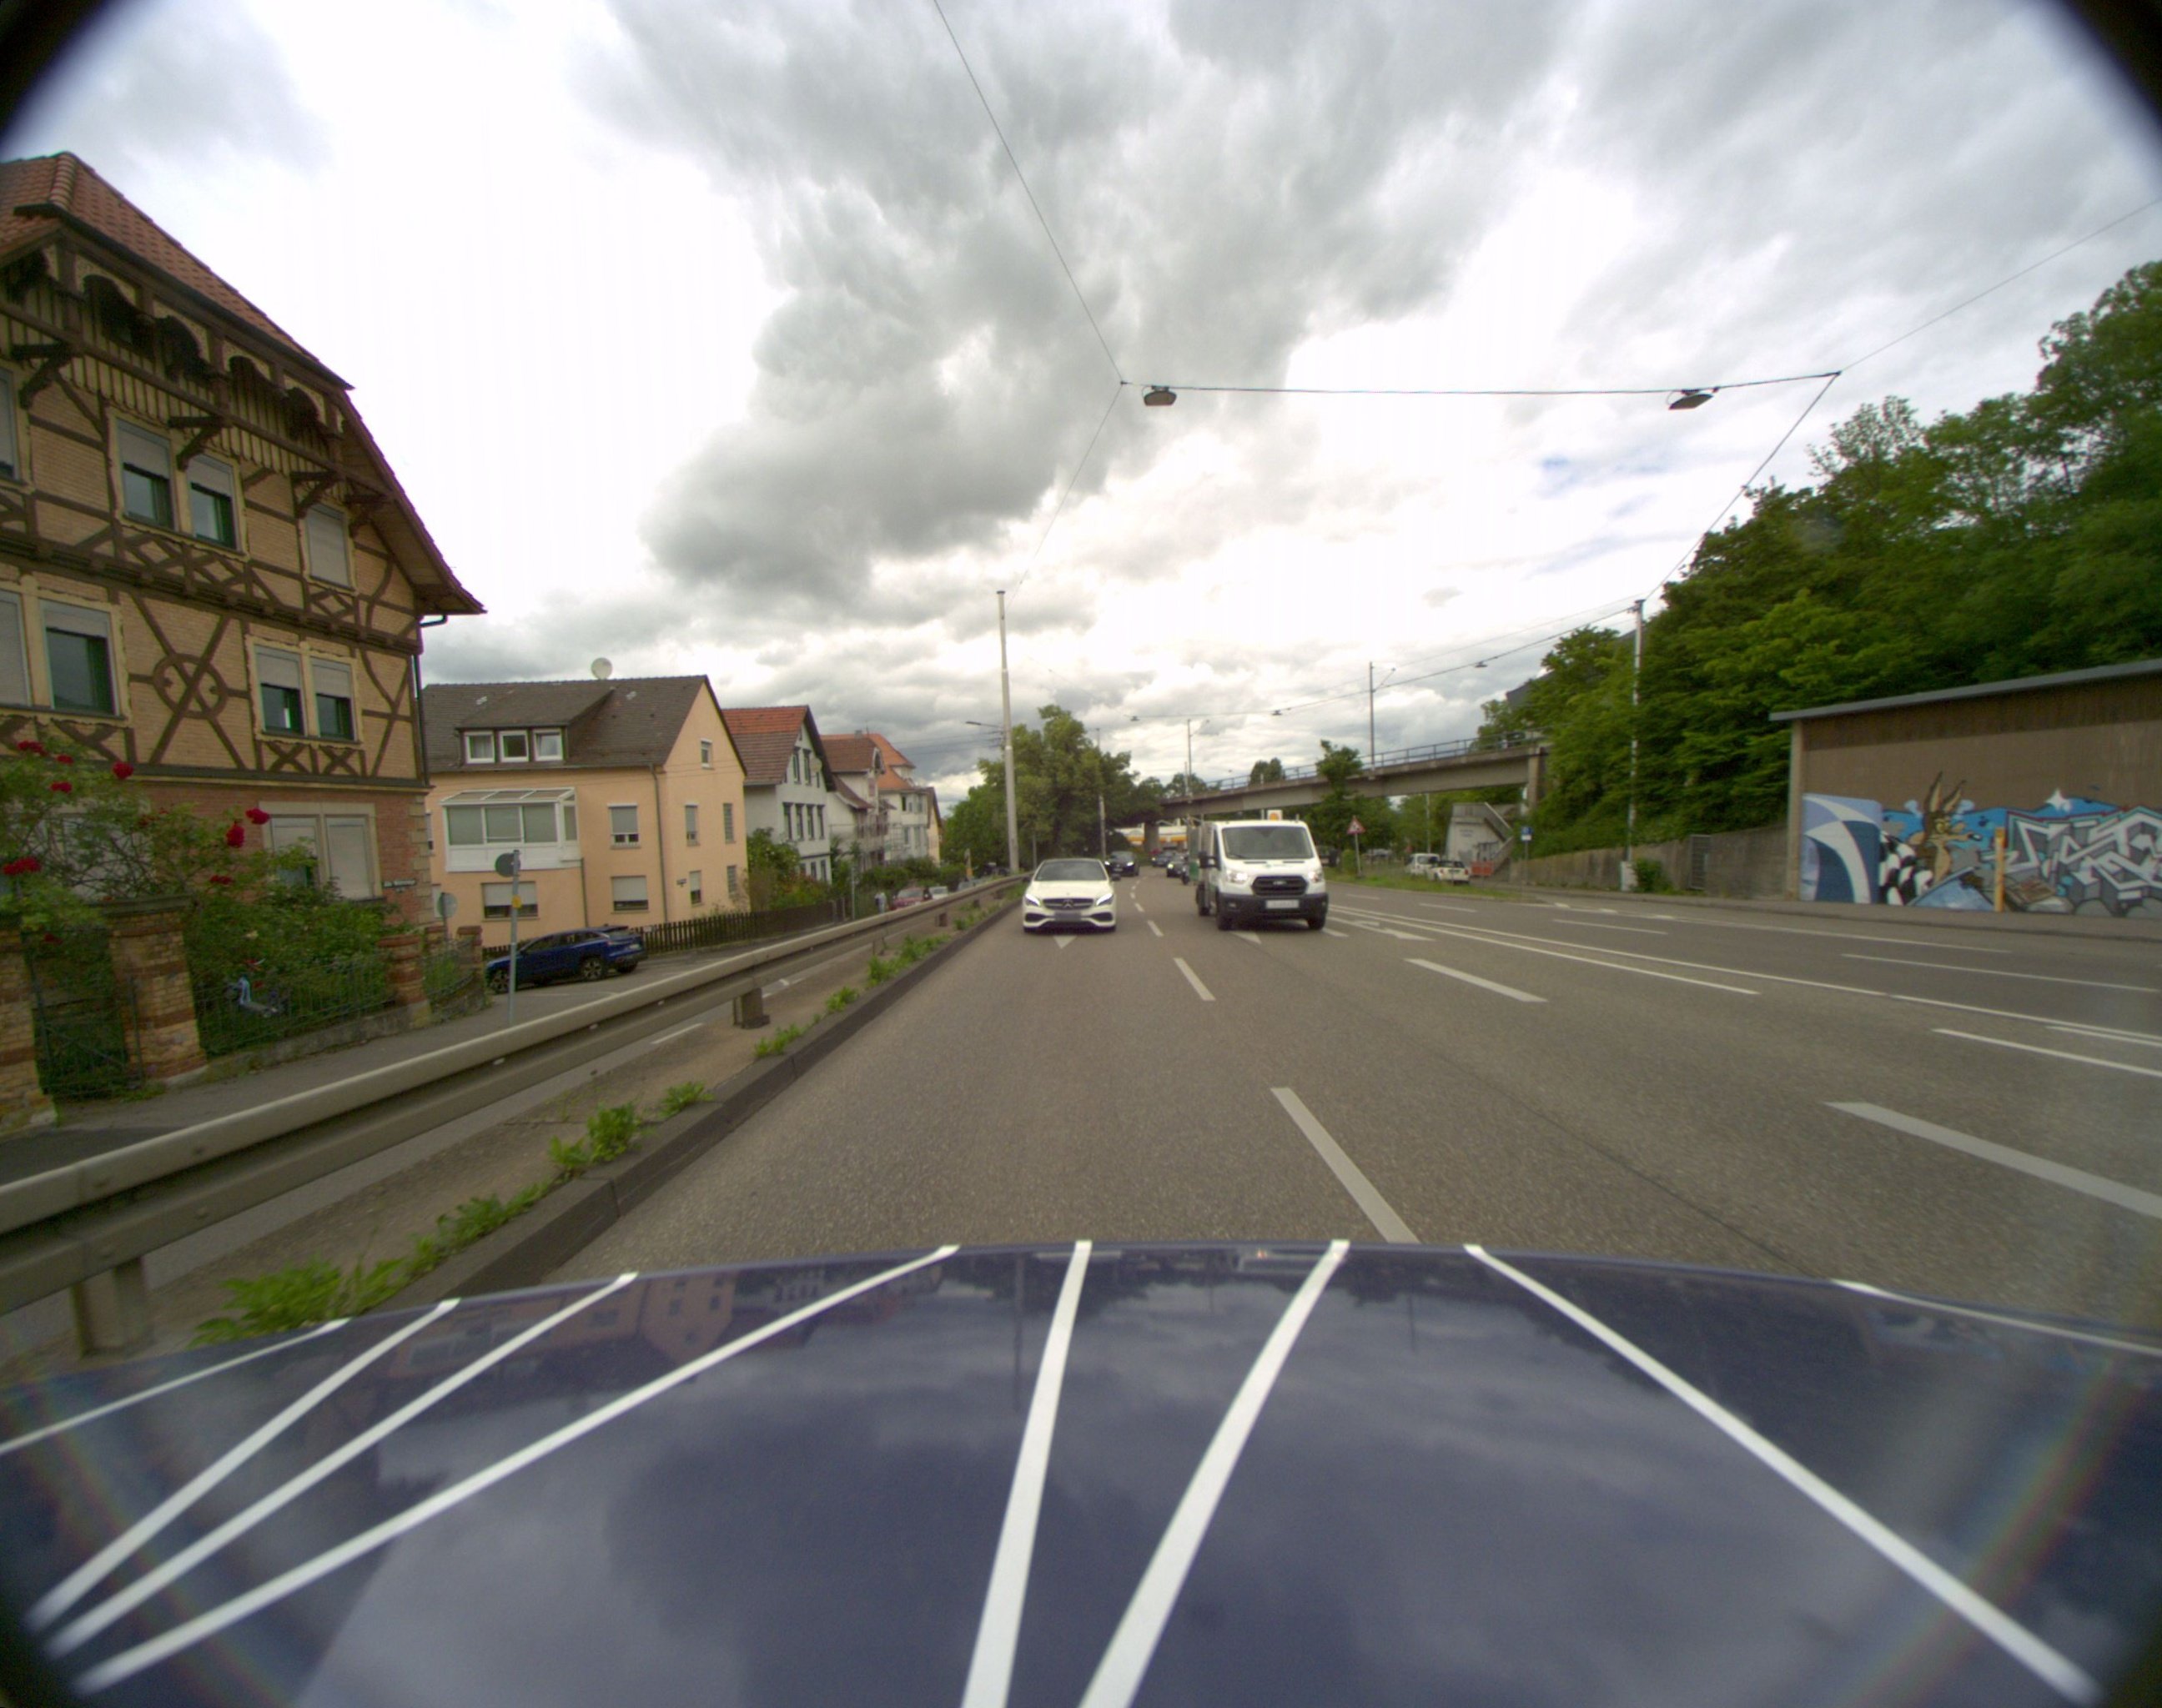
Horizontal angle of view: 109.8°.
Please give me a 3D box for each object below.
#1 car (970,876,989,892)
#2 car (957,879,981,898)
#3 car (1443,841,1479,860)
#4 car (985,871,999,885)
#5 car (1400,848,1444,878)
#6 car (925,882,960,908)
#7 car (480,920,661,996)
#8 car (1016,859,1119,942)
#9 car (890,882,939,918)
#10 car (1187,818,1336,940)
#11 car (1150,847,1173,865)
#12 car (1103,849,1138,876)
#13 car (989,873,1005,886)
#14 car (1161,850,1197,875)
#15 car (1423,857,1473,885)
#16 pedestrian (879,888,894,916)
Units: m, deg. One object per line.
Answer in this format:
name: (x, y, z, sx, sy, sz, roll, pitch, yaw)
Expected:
car: (-10.263, 3.042, 77.124, 1.624, 1.439, 4.028, -3, 0, -4)
car: (-9.867, 2.997, 67.383, 1.623, 1.439, 4.056, -3, 0, -3)
car: (47.088, -0.458, 94.150, 2.268, 2.260, 6.340, 3, 3, 42)
car: (-11.100, 2.969, 94.571, 1.624, 1.512, 4.301, -3, 0, -7)
car: (22.251, 0.565, 49.793, 1.769, 1.775, 4.469, 3, 1, 14)
car: (-9.262, 2.731, 51.096, 1.623, 1.433, 4.431, -3, 0, -3)
car: (-15.541, 3.142, 23.316, 3.998, 1.565, 2.000, -7, 0, -2)
car: (-0.246, 0.858, 15.736, 1.821, 1.339, 3.999, -1, 1, 0)
car: (-9.063, 2.481, 41.632, 1.786, 1.660, 4.202, -3, 0, -1)
car: (3.618, 0.395, 16.563, 1.998, 2.162, 6.268, 0, 1, 2)
car: (6.797, 0.162, 64.272, 1.733, 1.403, 4.000, 1, 1, 4)
car: (2.414, 0.517, 46.998, 1.998, 1.521, 4.001, -3, 0, 2)
car: (-9.790, 2.949, 89.057, 1.650, 1.386, 3.768, -3, 0, -4)
car: (6.023, 0.491, 47.122, 1.734, 1.403, 3.999, 1, 1, 0)
car: (20.812, 0.932, 43.270, 1.769, 1.411, 3.807, 1, 1, 14)
pedestrian: (-10.456, 2.574, 40.884, 0.619, 1.472, 0.589, -3, 1, 0)
